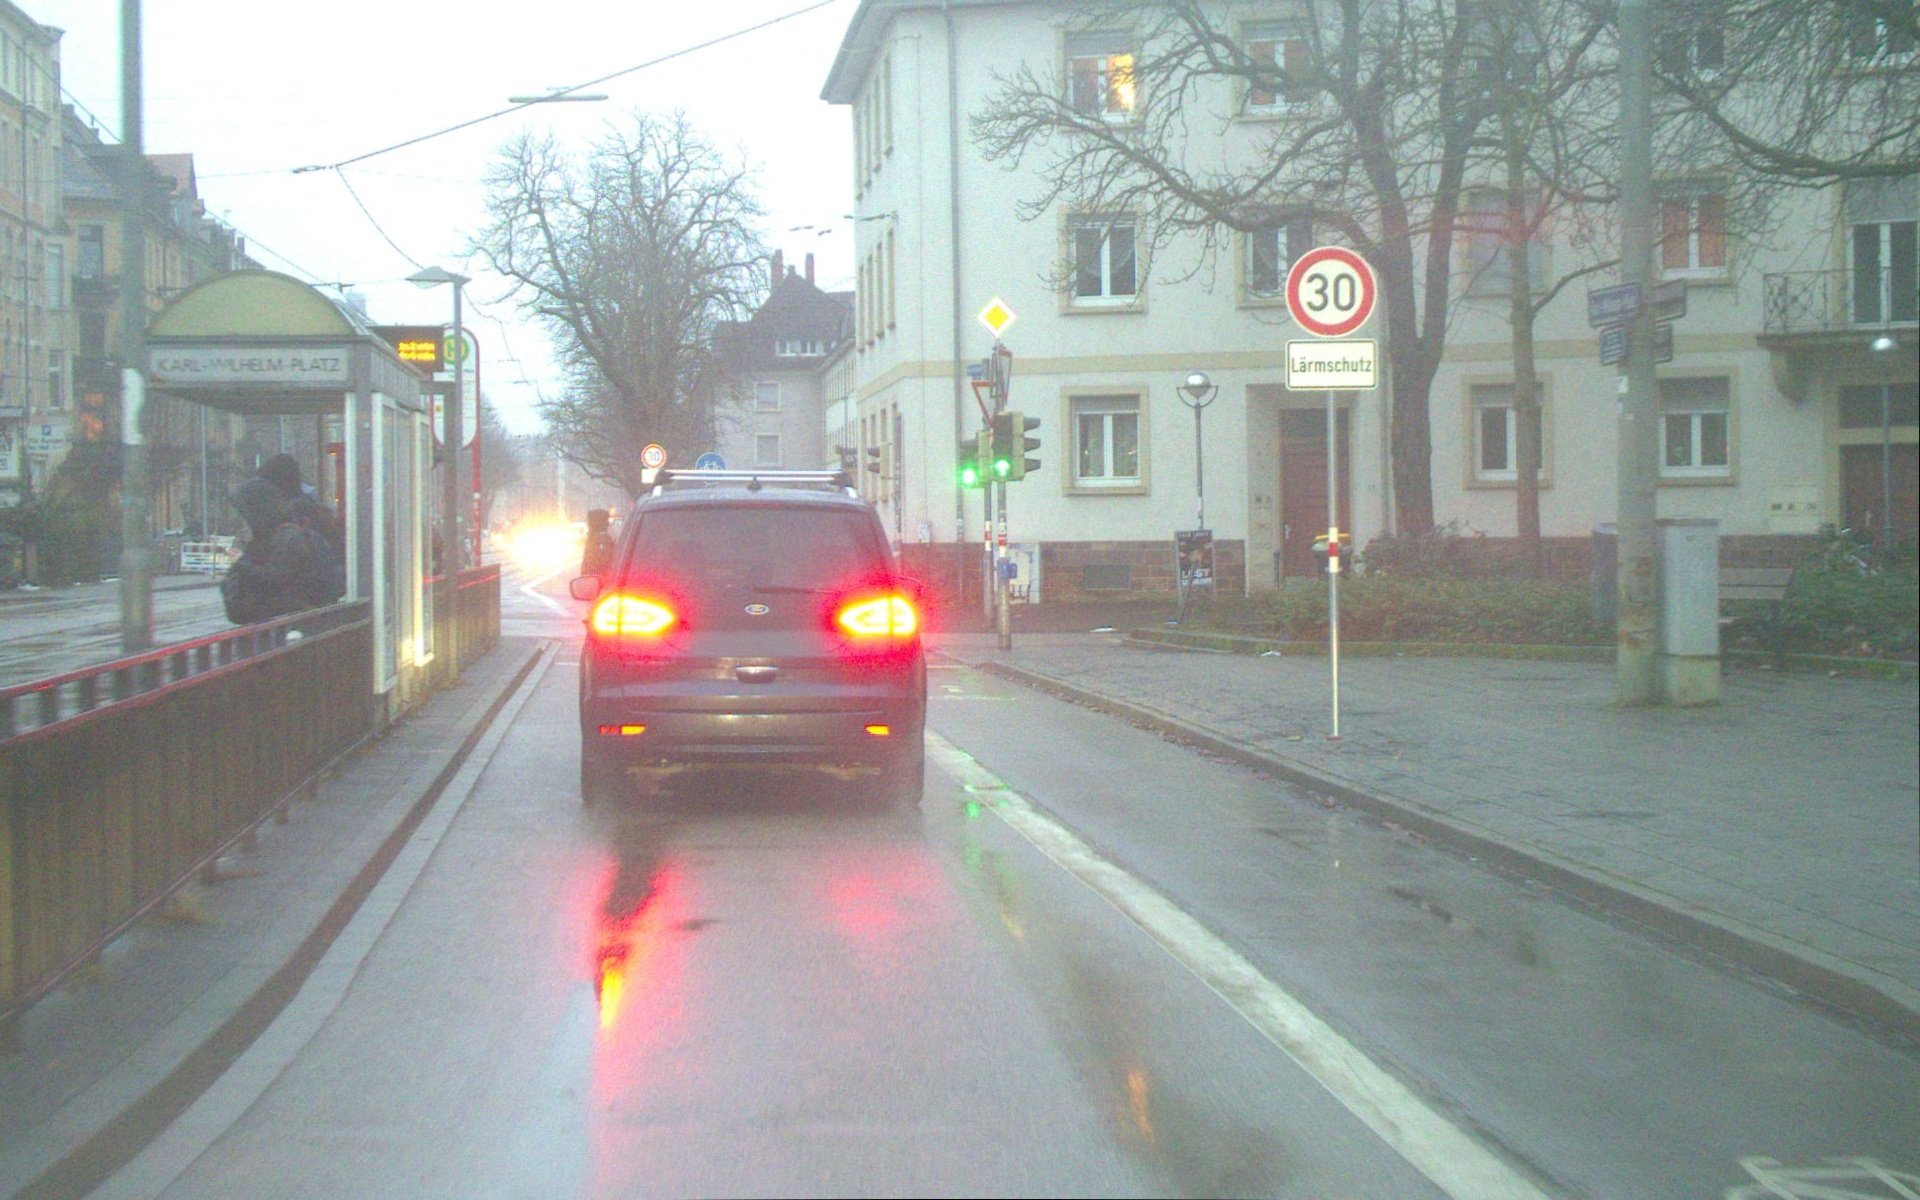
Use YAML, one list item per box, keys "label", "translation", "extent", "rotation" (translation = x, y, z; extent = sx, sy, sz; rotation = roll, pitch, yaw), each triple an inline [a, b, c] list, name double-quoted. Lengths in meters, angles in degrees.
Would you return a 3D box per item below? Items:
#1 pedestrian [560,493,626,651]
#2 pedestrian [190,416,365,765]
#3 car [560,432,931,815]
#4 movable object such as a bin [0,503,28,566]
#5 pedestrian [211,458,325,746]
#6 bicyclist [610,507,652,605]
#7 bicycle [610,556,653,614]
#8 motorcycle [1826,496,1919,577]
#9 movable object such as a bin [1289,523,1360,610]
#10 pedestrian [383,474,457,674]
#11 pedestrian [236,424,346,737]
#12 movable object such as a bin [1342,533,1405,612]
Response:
- label: "pedestrian"
  translation: [-4.529, -0.350, 42.432]
  extent: [0.715, 1.911, 0.689]
  rotation: [2, 1, -6]
- label: "pedestrian"
  translation: [-3.931, -0.058, 19.844]
  extent: [0.853, 1.949, 0.571]
  rotation: [2, 1, -5]
- label: "car"
  translation: [-1.222, 0.082, 19.455]
  extent: [1.801, 1.864, 4.019]
  rotation: [3, 1, -4]
- label: "movable object such as a bin"
  translation: [-24.613, -1.676, 87.838]
  extent: [1.244, 1.580, 1.308]
  rotation: [1, 1, 0]
- label: "pedestrian"
  translation: [-4.280, 0.009, 21.285]
  extent: [0.557, 1.735, 0.571]
  rotation: [2, 1, -5]
- label: "bicyclist"
  translation: [-5.848, -0.779, 61.182]
  extent: [0.730, 1.730, 0.766]
  rotation: [0, 1, -4]
- label: "bicycle"
  translation: [-5.835, -0.266, 61.122]
  extent: [0.731, 1.003, 1.764]
  rotation: [0, 1, -4]
- label: "motorcycle"
  translation: [12.997, -0.900, 48.201]
  extent: [0.568, 1.101, 1.602]
  rotation: [-5, 4, -41]
- label: "movable object such as a bin"
  translation: [5.400, -0.494, 50.955]
  extent: [0.853, 1.247, 0.521]
  rotation: [3, 1, 37]
- label: "pedestrian"
  translation: [-4.968, -0.239, 31.665]
  extent: [0.557, 1.801, 0.571]
  rotation: [2, 1, -5]
- label: "pedestrian"
  translation: [-4.333, -0.128, 22.297]
  extent: [0.557, 1.980, 0.571]
  rotation: [2, 1, -5]
- label: "movable object such as a bin"
  translation: [6.068, -0.403, 50.464]
  extent: [0.700, 1.116, 0.537]
  rotation: [3, 1, 37]
